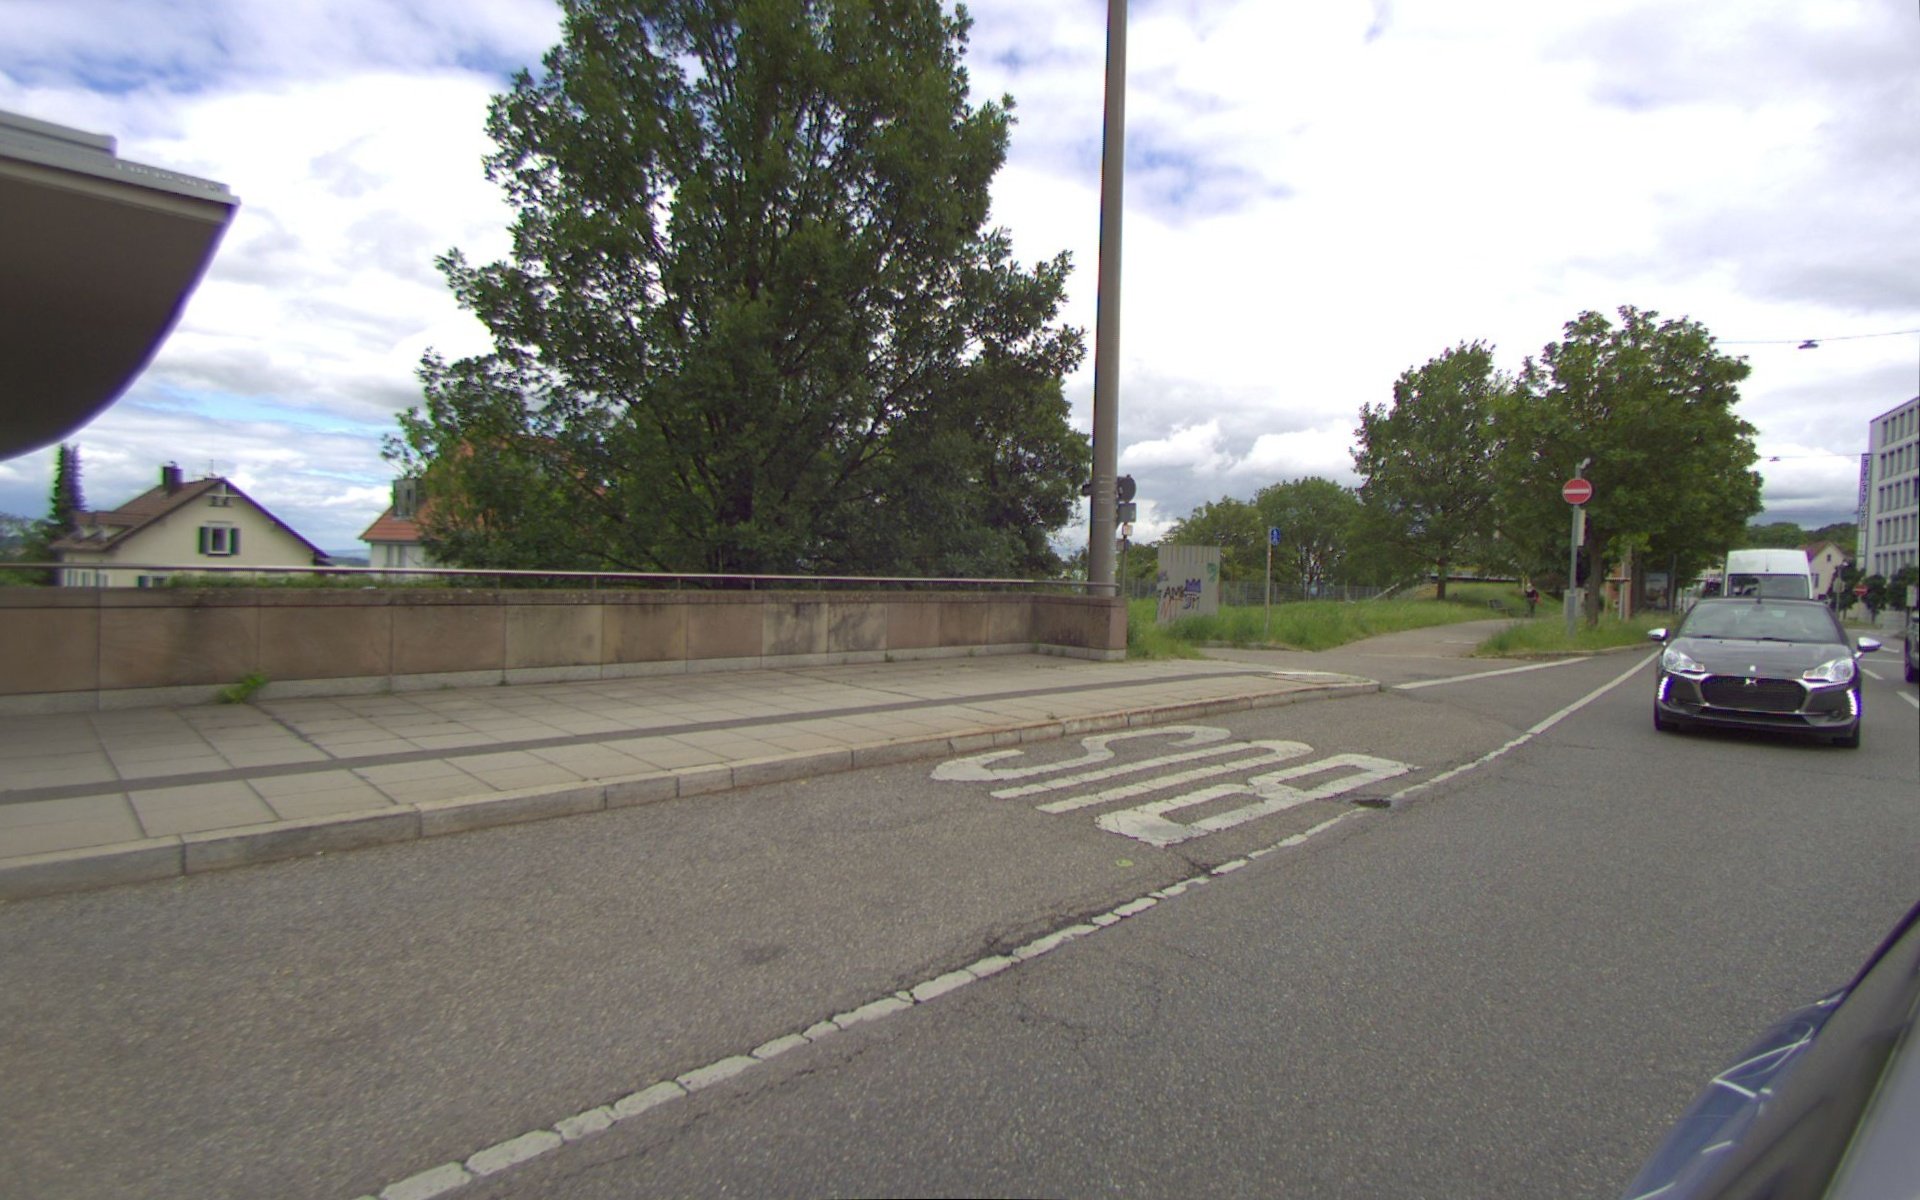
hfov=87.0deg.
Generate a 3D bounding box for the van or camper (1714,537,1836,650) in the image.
[{"bbox_3d":[22.556,-0.263,28.139,2.270,2.739,6.899,3,3,38],"label":"van or camper"}]

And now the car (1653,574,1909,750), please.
[{"bbox_3d":[9.048,0.516,11.357,1.855,1.543,3.946,3,3,37],"label":"car"}]

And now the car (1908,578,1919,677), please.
[{"bbox_3d":[16.550,0.487,15.874,1.989,1.670,4.335,1,1,37],"label":"car"}]
